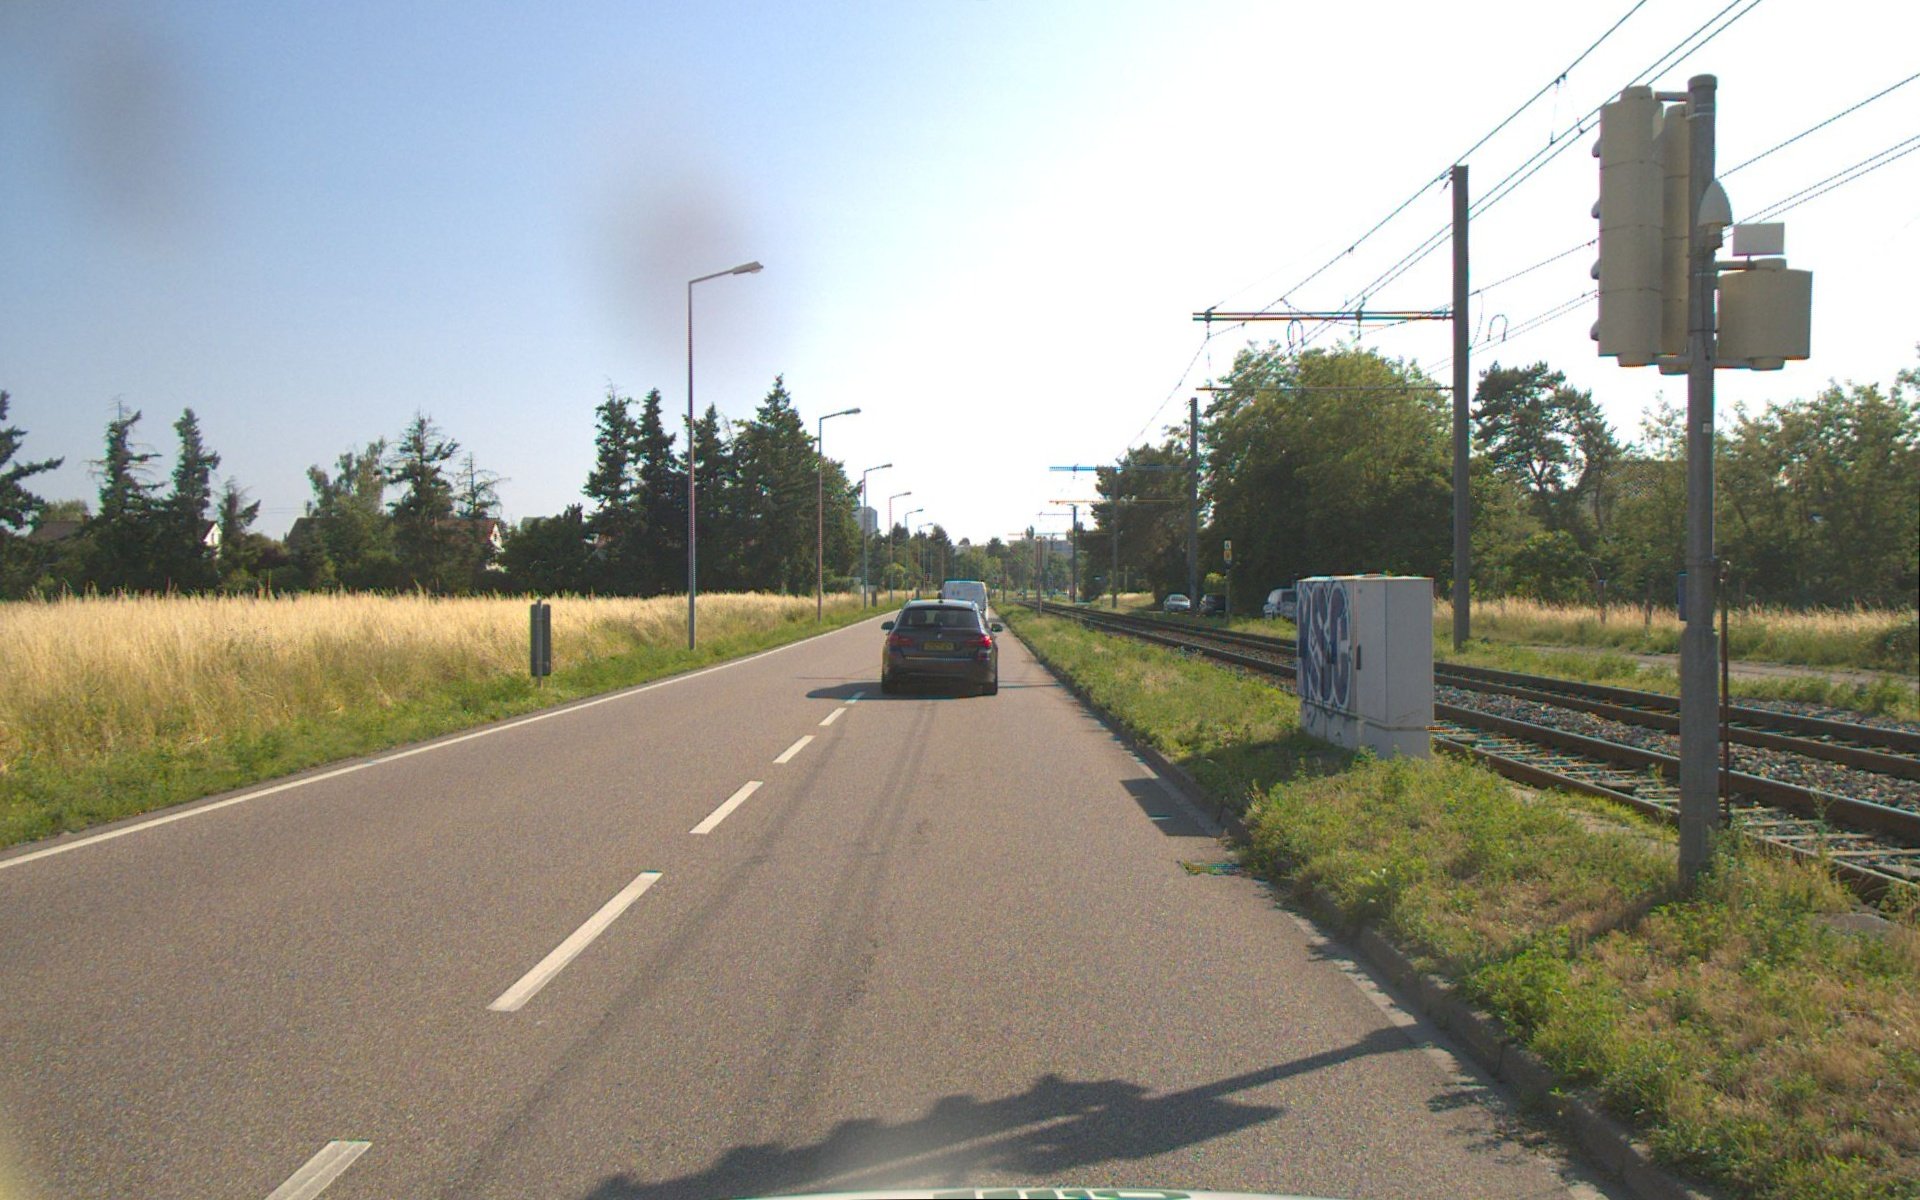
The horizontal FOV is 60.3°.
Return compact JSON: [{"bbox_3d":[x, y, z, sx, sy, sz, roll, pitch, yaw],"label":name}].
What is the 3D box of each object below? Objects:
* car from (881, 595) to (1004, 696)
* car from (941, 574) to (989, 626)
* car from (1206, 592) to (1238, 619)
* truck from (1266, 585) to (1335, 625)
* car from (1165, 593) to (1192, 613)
[{"bbox_3d":[-0.244,0.677,27.219,1.830,1.478,4.744,1,0,0],"label":"car"},{"bbox_3d":[0.161,-0.006,67.799,1.820,2.023,5.107,1,1,-1],"label":"car"},{"bbox_3d":[17.152,0.370,108.412,1.698,1.709,3.545,1,-1,3],"label":"car"},{"bbox_3d":[16.477,0.213,80.296,2.159,1.851,5.929,0,0,0],"label":"truck"},{"bbox_3d":[16.666,0.267,126.407,1.588,1.423,3.490,1,-1,1],"label":"car"}]
